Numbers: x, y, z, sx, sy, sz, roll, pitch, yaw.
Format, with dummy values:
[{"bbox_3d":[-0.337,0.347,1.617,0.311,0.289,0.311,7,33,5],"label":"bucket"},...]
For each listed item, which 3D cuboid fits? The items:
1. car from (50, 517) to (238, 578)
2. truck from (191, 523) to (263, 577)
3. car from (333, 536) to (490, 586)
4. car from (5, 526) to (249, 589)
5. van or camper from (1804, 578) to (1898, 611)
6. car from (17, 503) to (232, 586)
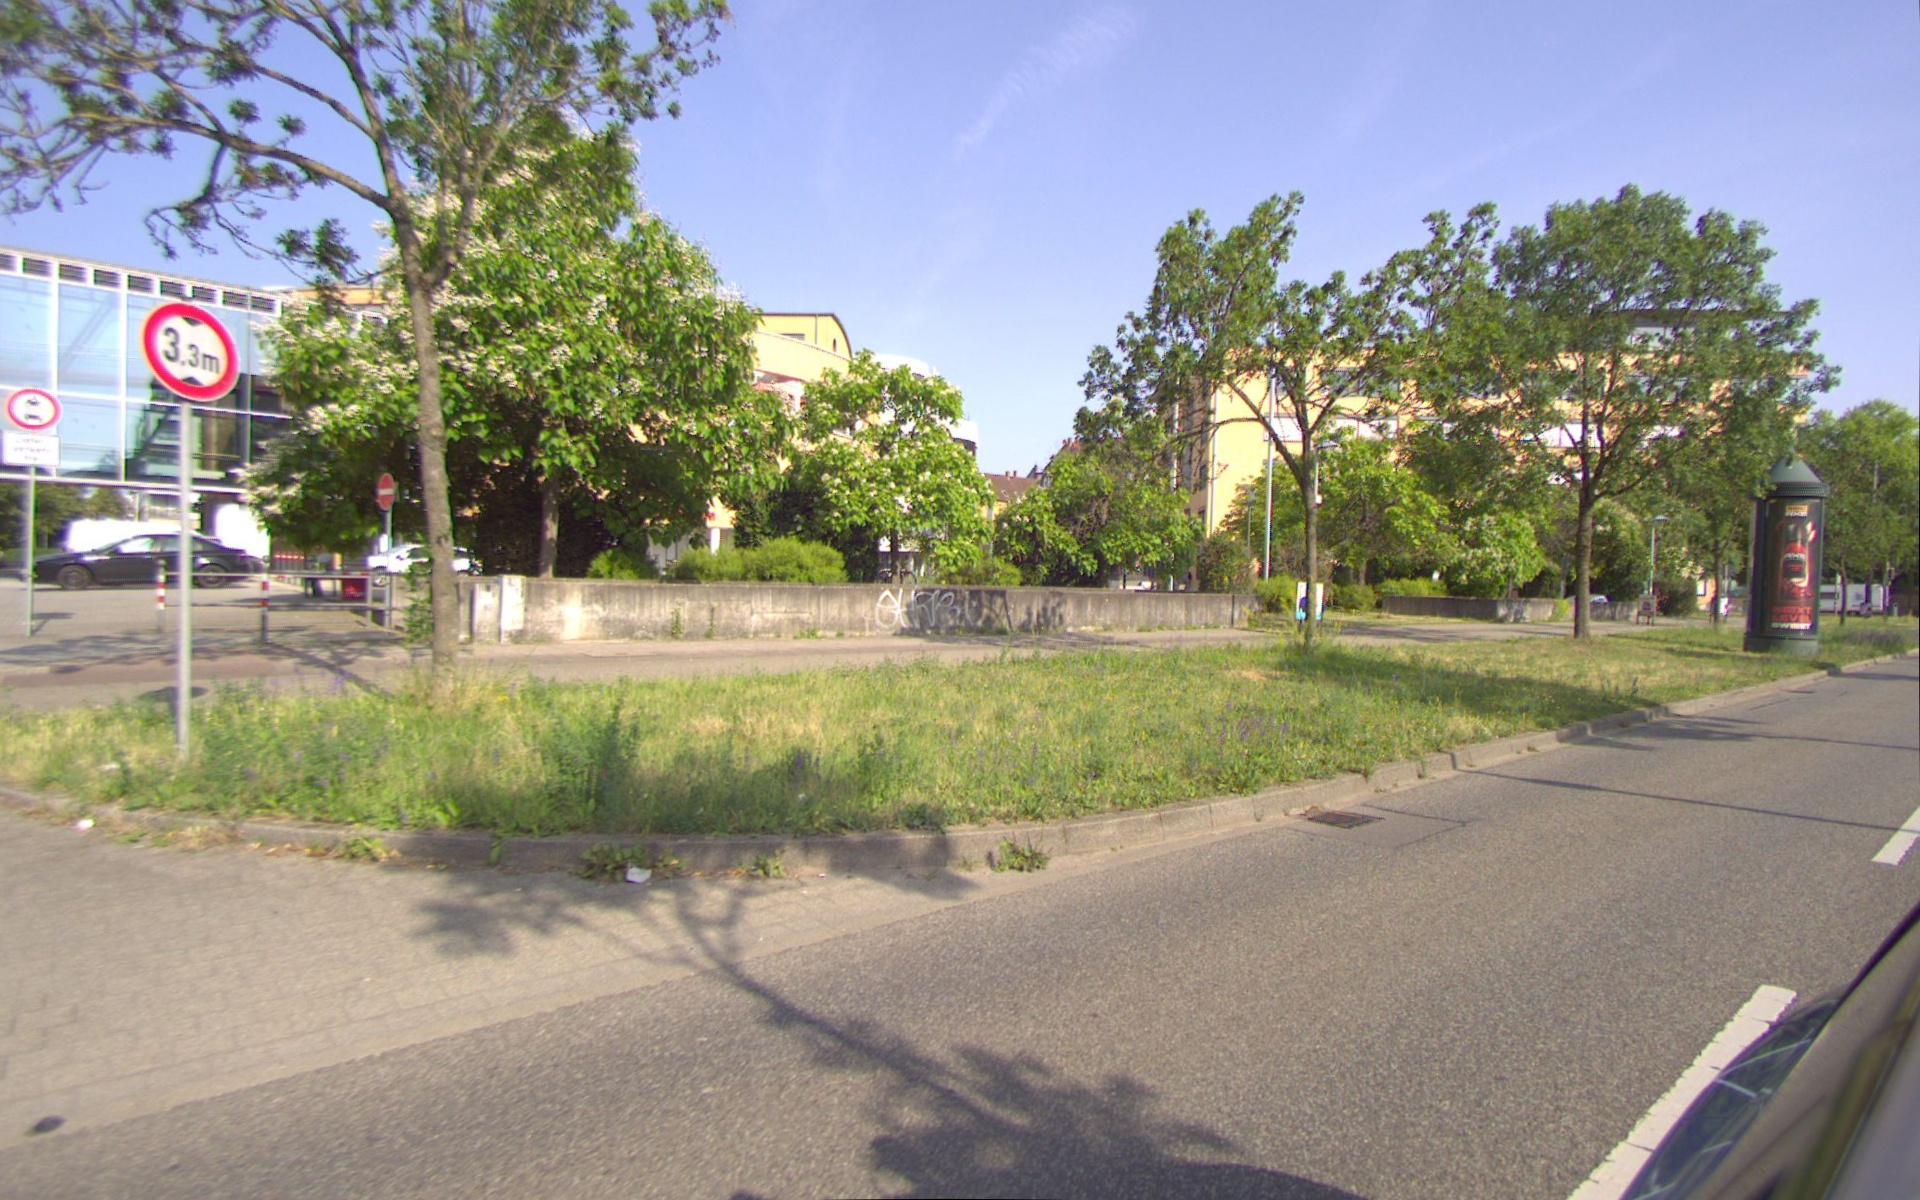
[{"bbox_3d":[-24.630,-1.539,30.688,4.343,1.661,1.770,0,0,-41],"label":"car"},{"bbox_3d":[-37.756,-2.495,52.289,2.021,2.518,6.018,0,0,-26],"label":"truck"},{"bbox_3d":[-18.085,-1.231,33.551,1.684,1.504,4.301,-1,0,39],"label":"car"},{"bbox_3d":[-20.751,-1.003,25.434,4.623,1.417,1.597,0,0,-41],"label":"car"},{"bbox_3d":[75.092,-0.451,85.396,2.368,2.727,5.790,0,0,-43],"label":"van or camper"},{"bbox_3d":[-22.566,-1.417,27.507,4.382,2.039,1.997,0,0,-41],"label":"car"}]
